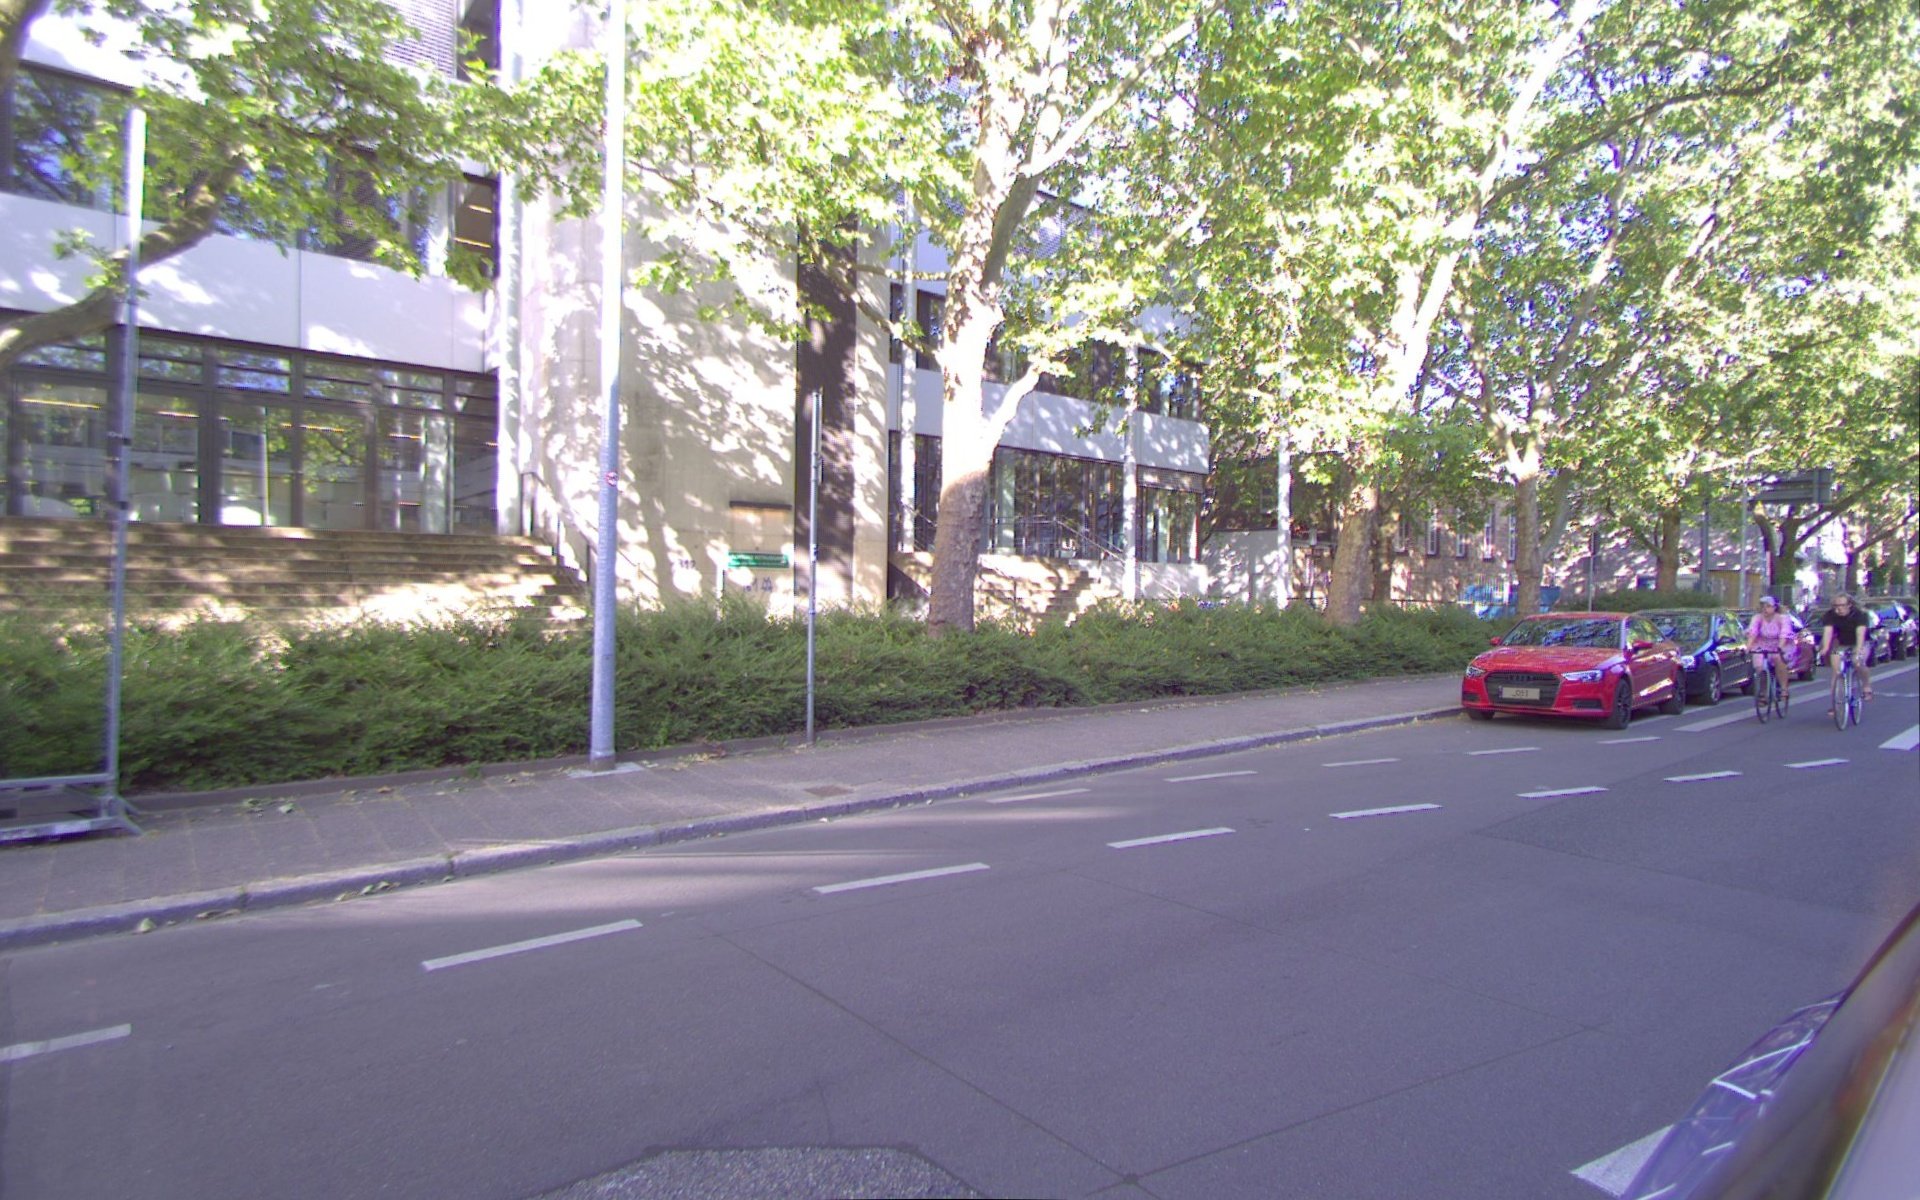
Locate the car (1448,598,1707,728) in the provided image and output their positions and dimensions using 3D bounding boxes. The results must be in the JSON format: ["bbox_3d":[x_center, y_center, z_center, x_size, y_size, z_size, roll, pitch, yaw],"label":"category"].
[{"bbox_3d":[8.343,0.722,13.546,4.053,1.483,1.802,0,-1,-41],"label":"car"}]

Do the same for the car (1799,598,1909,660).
[{"bbox_3d":[22.994,0.696,26.006,3.674,1.483,1.634,0,-1,-41],"label":"car"}]

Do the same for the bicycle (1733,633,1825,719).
[{"bbox_3d":[10.670,0.954,13.165,1.848,0.997,0.601,0,-1,-41],"label":"bicycle"}]

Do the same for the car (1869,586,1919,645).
[{"bbox_3d":[30.986,0.474,32.926,3.777,1.828,1.634,0,-1,-41],"label":"car"}]

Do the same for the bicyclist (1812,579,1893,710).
[{"bbox_3d":[10.972,0.524,12.436,0.874,1.535,0.611,0,-1,-41],"label":"bicyclist"}]

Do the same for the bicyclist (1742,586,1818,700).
[{"bbox_3d":[10.703,0.544,13.208,0.915,1.420,0.601,0,-1,-41],"label":"bicyclist"}]

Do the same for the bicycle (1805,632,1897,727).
[{"bbox_3d":[10.907,0.936,12.377,1.701,1.039,0.611,0,-1,-41],"label":"bicycle"}]

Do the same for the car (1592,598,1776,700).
[{"bbox_3d":[11.910,0.718,16.578,3.674,1.483,1.634,0,-1,-41],"label":"car"}]

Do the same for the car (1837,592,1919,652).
[{"bbox_3d":[26.589,0.583,29.027,3.777,1.607,1.634,0,-1,-41],"label":"car"}]

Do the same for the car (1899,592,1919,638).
[{"bbox_3d":[35.935,0.529,37.222,3.777,1.675,1.634,0,-1,-41],"label":"car"}]

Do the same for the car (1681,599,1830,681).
[{"bbox_3d":[15.752,0.723,19.990,3.674,1.483,1.634,0,-1,-41],"label":"car"}]
